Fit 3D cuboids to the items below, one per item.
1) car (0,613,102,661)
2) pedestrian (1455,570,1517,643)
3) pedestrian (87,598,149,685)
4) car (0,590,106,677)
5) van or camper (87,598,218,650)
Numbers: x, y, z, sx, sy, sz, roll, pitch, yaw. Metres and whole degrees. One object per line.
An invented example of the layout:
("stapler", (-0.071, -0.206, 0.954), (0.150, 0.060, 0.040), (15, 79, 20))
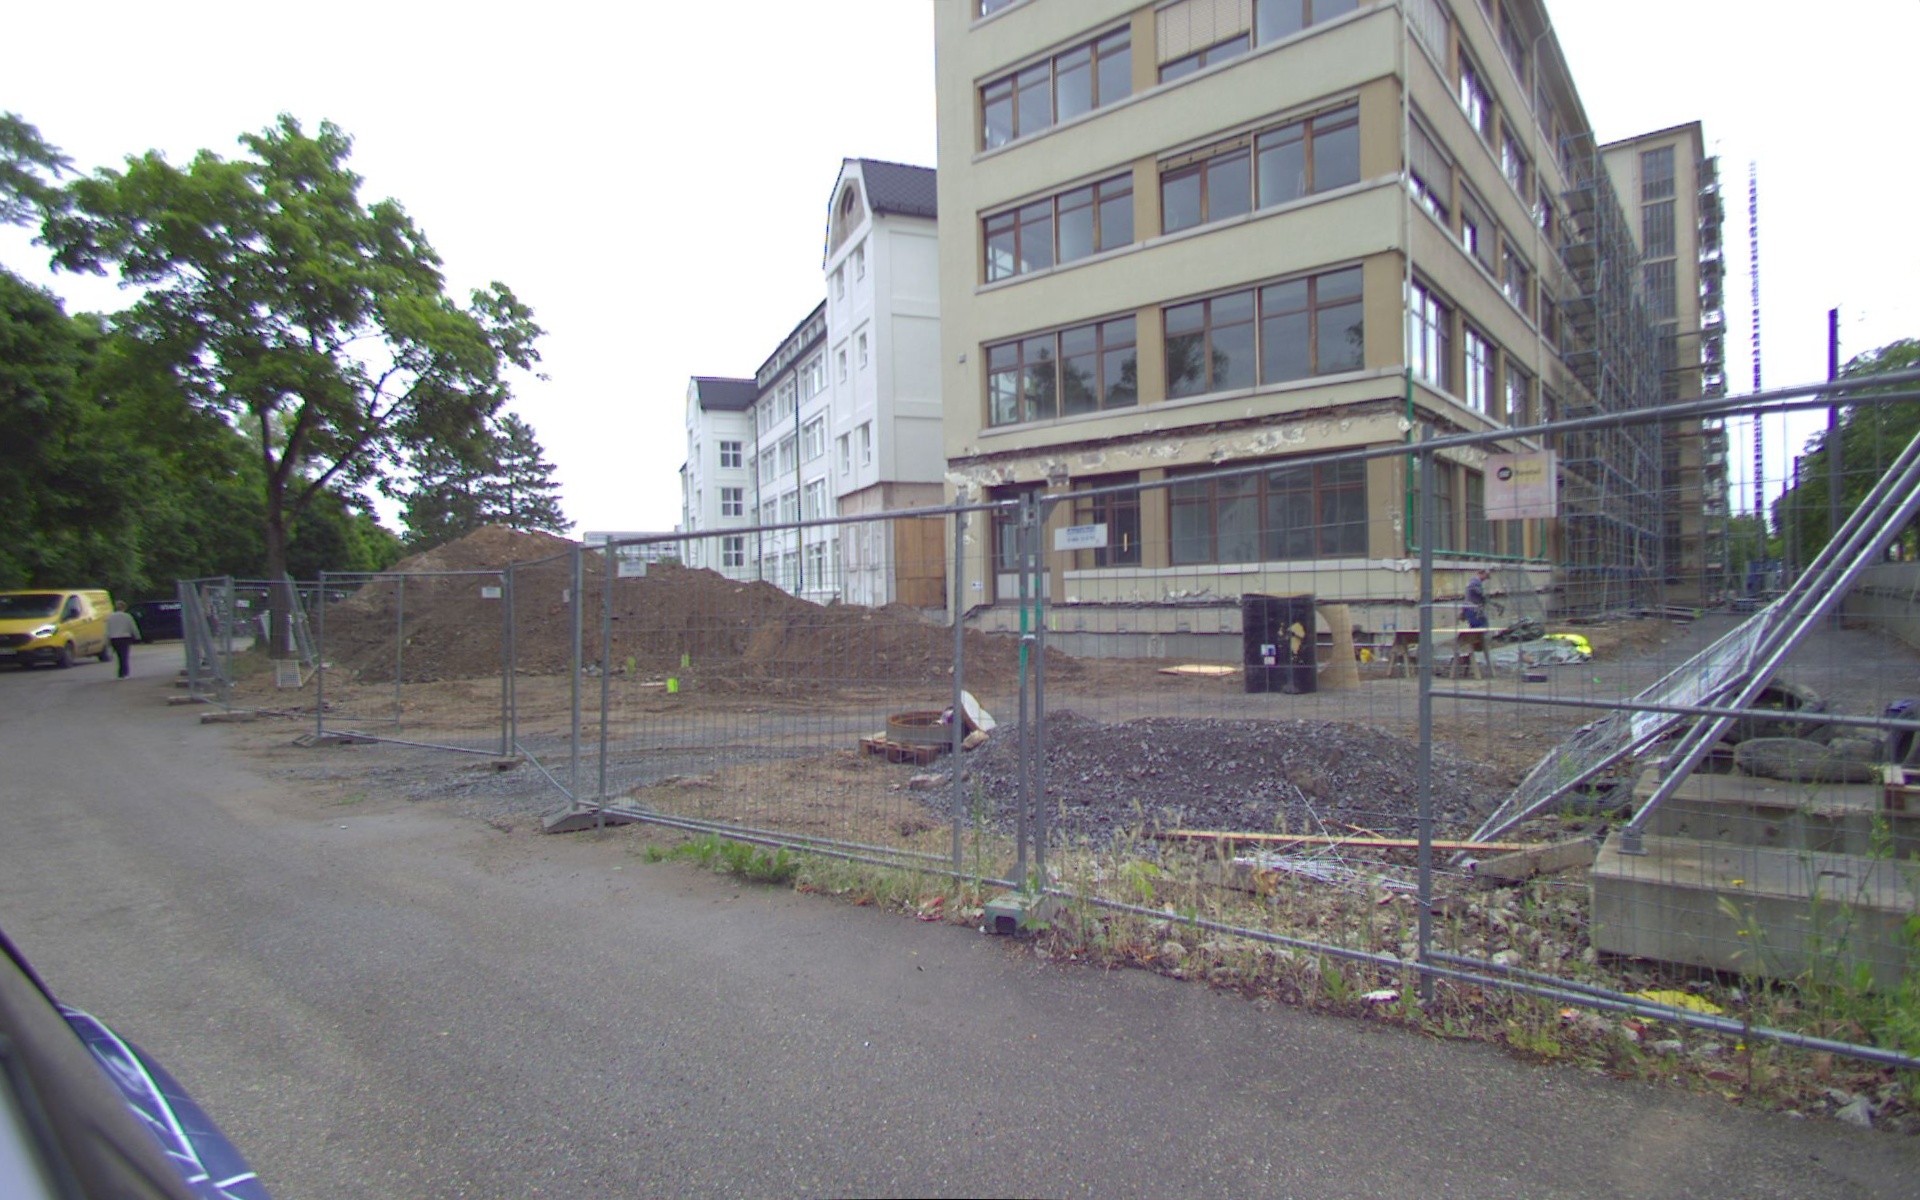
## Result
("car", (-32.974, 1.312, 35.814), (3.822, 1.586, 1.756), (-1, 0, -35))
("pedestrian", (10.767, 0.131, 20.749), (0.975, 1.448, 0.925), (-1, 0, 19))
("pedestrian", (-17.709, 0.857, 21.289), (0.657, 1.795, 0.747), (-1, 0, 16))
("car", (-23.548, 0.823, 25.737), (2.089, 2.029, 4.012), (-1, 0, -30))
("van or camper", (-37.880, 1.081, 47.638), (4.423, 2.275, 2.007), (-1, 0, -23))
